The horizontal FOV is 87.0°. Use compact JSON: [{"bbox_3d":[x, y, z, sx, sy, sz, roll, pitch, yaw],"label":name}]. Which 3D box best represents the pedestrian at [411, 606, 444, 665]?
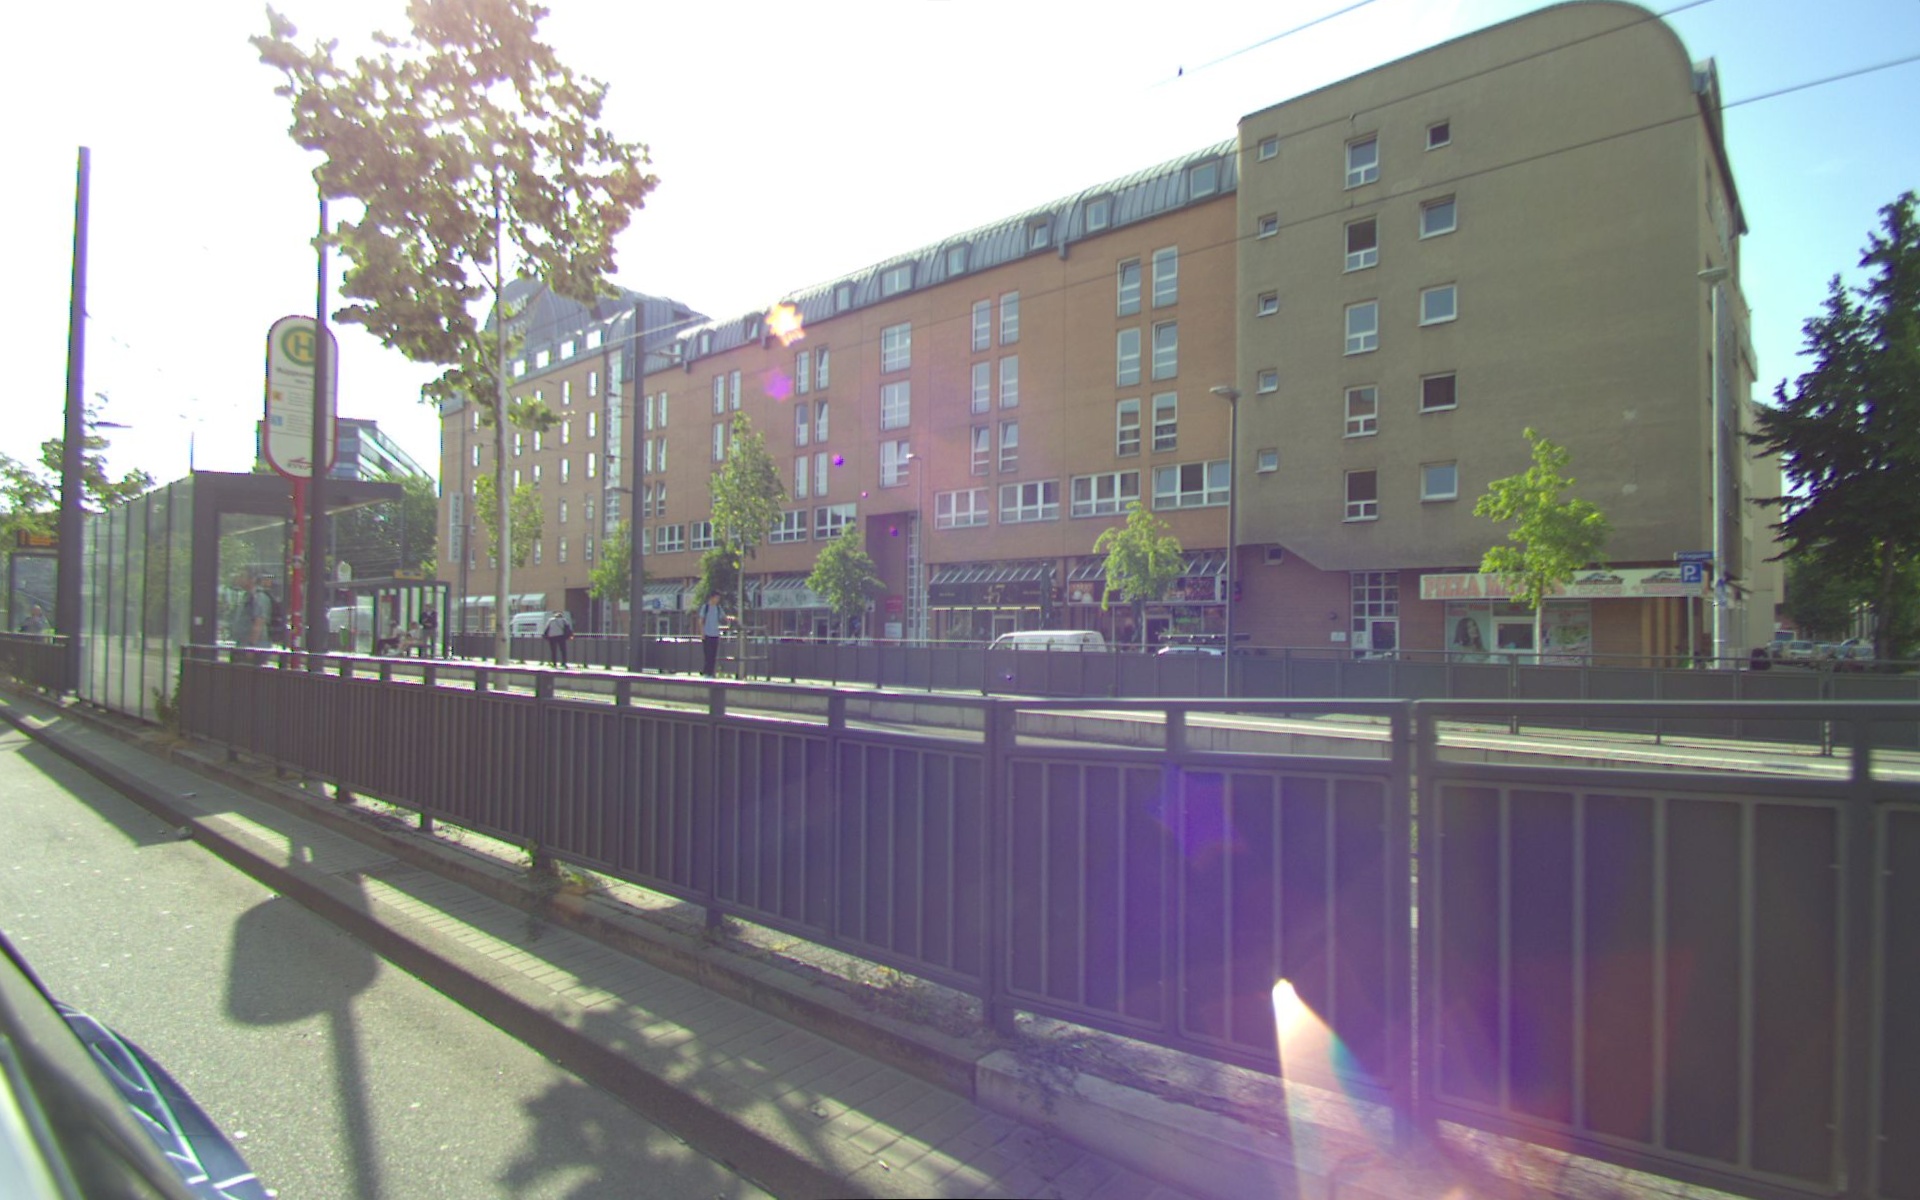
[{"bbox_3d":[-17.553,1.162,33.339,0.555,1.901,0.795,-2,-3,45],"label":"pedestrian"}]

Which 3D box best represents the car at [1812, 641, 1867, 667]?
[{"bbox_3d":[48.523,2.951,55.901,1.825,1.386,3.953,-1,-3,35],"label":"car"}]

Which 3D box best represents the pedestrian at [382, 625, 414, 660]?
[{"bbox_3d":[-20.145,1.522,36.303,0.675,1.255,0.783,-2,-4,41],"label":"pedestrian"}]

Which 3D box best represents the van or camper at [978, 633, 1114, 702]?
[{"bbox_3d":[2.654,2.062,31.839,1.970,2.029,4.004,2,-3,-43],"label":"van or camper"}]

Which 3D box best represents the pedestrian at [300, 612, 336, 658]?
[{"bbox_3d":[-25.469,1.397,40.168,0.825,1.760,0.784,1,-3,5],"label":"pedestrian"}]

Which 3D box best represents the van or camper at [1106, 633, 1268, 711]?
[{"bbox_3d":[6.215,1.925,28.006,1.907,1.983,4.003,2,-3,-44],"label":"van or camper"}]

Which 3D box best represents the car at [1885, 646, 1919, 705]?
[{"bbox_3d":[26.573,1.965,25.998,3.996,1.519,1.973,-1,-3,40],"label":"car"}]

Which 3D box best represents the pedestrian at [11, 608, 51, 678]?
[{"bbox_3d":[-24.128,1.113,26.293,0.726,1.771,0.666,-1,0,41],"label":"pedestrian"}]

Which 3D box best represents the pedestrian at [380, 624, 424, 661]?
[{"bbox_3d":[-19.660,1.506,35.655,0.675,1.255,1.141,-2,-4,41],"label":"pedestrian"}]

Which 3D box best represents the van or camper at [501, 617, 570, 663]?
[{"bbox_3d":[-27.125,2.542,64.608,5.352,2.823,1.972,-1,-3,42],"label":"van or camper"}]

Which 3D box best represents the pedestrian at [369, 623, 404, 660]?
[{"bbox_3d":[-21.302,1.541,37.586,0.808,1.324,0.860,-1,-3,39],"label":"pedestrian"}]

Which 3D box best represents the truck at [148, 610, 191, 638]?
[{"bbox_3d":[-111.052,3.390,142.060,3.124,3.805,12.366,3,-3,-45],"label":"truck"}]

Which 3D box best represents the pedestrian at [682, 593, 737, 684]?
[{"bbox_3d":[-5.356,0.826,21.662,0.939,1.886,0.731,-2,-3,44],"label":"pedestrian"}]

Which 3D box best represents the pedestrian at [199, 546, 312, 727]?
[{"bbox_3d":[-8.348,0.409,11.990,1.027,2.029,0.825,-1,0,38],"label":"pedestrian"}]

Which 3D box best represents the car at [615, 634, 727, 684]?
[{"bbox_3d":[-11.357,2.257,39.639,4.628,1.819,1.973,-1,-3,40],"label":"car"}]

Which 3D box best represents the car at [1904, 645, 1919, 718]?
[{"bbox_3d":[23.761,1.816,22.001,4.549,1.612,1.746,-1,-3,38],"label":"car"}]

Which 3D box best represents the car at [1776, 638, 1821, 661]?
[{"bbox_3d":[53.443,3.148,64.553,1.825,1.386,3.953,-1,-3,35],"label":"car"}]

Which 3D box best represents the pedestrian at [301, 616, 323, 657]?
[{"bbox_3d":[-28.704,1.606,44.807,0.698,1.774,0.644,-1,0,43],"label":"pedestrian"}]

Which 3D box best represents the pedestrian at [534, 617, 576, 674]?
[{"bbox_3d":[-11.183,1.247,27.960,0.803,1.542,0.675,0,-2,11],"label":"pedestrian"}]

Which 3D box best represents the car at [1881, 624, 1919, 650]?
[{"bbox_3d":[69.848,2.694,73.529,4.054,1.863,1.953,-1,-2,34],"label":"car"}]
